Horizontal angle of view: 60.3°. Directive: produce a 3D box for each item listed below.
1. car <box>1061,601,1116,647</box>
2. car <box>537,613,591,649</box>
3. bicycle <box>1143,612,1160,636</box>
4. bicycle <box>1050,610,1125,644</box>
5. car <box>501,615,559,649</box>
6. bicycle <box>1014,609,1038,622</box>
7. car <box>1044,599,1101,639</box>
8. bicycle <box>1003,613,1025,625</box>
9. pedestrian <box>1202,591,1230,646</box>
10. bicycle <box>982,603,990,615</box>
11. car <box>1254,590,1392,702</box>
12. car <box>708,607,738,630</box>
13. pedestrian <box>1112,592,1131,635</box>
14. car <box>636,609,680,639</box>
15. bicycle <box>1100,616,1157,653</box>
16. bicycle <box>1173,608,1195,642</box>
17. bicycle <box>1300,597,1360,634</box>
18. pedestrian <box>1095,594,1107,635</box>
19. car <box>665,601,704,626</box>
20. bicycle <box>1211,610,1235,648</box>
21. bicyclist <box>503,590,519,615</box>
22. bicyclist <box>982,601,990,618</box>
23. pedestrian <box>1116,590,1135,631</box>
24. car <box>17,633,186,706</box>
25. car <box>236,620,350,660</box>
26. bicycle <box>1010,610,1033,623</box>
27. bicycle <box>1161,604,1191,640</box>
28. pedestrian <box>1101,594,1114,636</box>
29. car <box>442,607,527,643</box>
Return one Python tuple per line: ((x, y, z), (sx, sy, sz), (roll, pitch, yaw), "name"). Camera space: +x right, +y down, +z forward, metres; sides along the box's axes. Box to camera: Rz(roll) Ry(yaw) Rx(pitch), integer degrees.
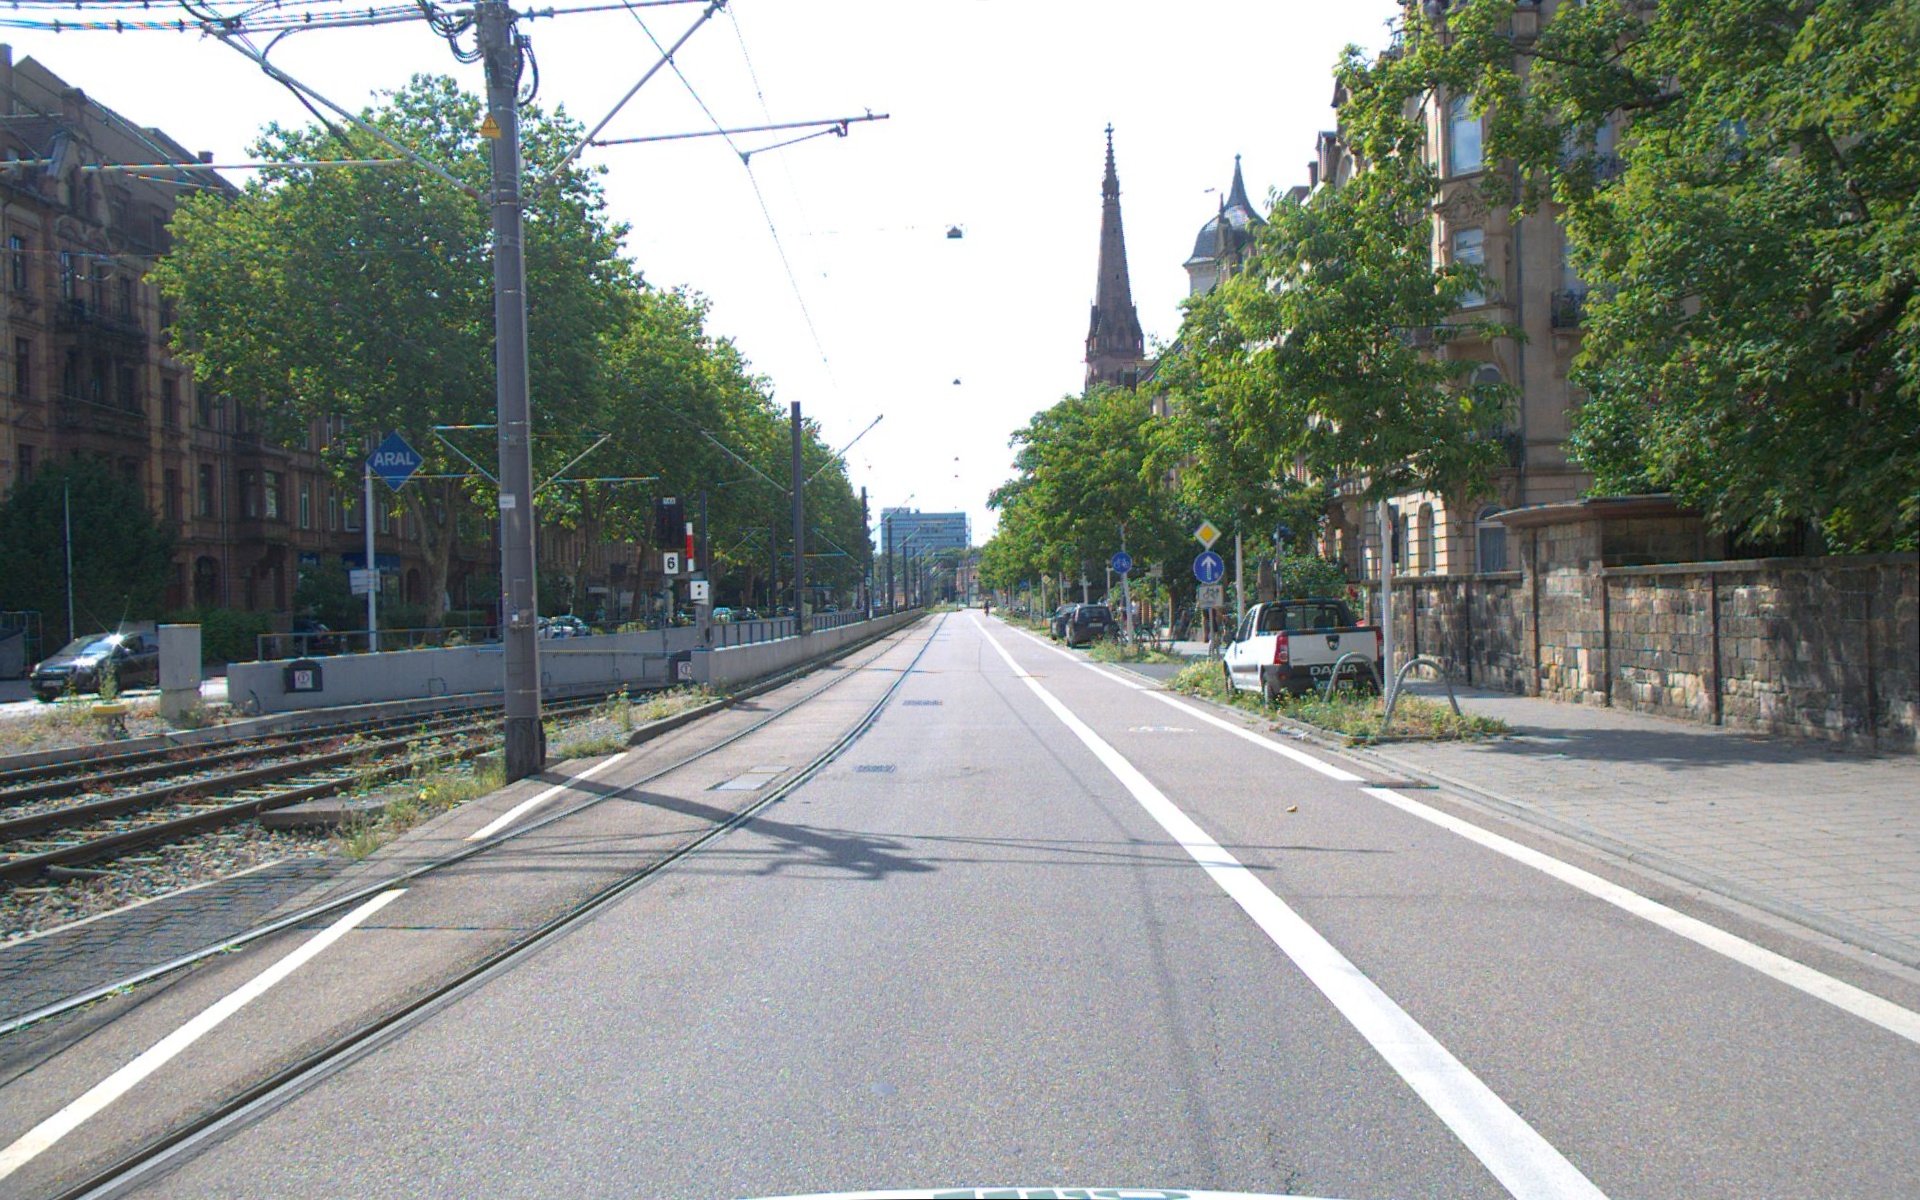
((4.650, 0.832, 60.391), (1.651, 1.528, 4.708), (-2, 0, 0), "car")
((-19.184, 1.482, 80.218), (1.610, 1.508, 4.001), (-4, 0, -1), "car")
((7.962, 0.996, 68.791), (0.419, 0.956, 1.807), (-4, 0, 0), "bicycle")
((5.158, 1.078, 66.891), (2.895, 1.268, 0.790), (-2, 0, -13), "bicycle")
((-19.164, 1.427, 73.771), (1.466, 1.326, 3.492), (-4, 0, 2), "car")
((5.173, 1.200, 129.174), (1.780, 0.918, 0.651), (-4, 0, -4), "bicycle")
((4.746, 0.796, 70.410), (1.763, 1.553, 4.486), (-3, 0, -4), "car")
((4.736, 1.665, 145.373), (1.780, 0.918, 0.603), (-4, 0, -4), "bicycle")
((7.871, 0.579, 50.886), (0.708, 1.657, 0.725), (-1, -1, 0), "pedestrian")
((2.675, 0.917, 169.886), (0.782, 1.258, 2.777), (-1, 0, 1), "bicycle")
((5.211, 0.606, 24.149), (1.633, 1.441, 3.847), (-2, 0, 8), "car")
((-19.864, 1.516, 138.847), (1.801, 1.757, 4.000), (-4, 0, 0), "car")
((7.114, 0.600, 72.817), (0.656, 1.836, 0.319), (-4, 0, -2), "pedestrian")
((-19.347, 1.536, 106.155), (1.682, 1.720, 3.733), (-3, 1, 6), "car")
((5.217, 1.075, 51.306), (1.673, 1.088, 0.470), (-2, 0, -6), "bicycle")
((7.955, 0.867, 58.805), (0.419, 1.159, 2.023), (-4, 0, 0), "bicycle")
((12.391, 0.515, 55.376), (1.853, 1.088, 0.470), (-5, 0, -6), "bicycle")
((6.132, 0.637, 71.870), (0.311, 1.736, 0.461), (-4, 0, 14), "pedestrian")
((-20.072, 0.982, 120.661), (1.952, 1.665, 4.001), (-4, 0, 2), "car")
((8.073, 0.869, 50.824), (0.460, 1.127, 1.711), (-1, 0, 0), "bicycle")
((-27.606, 0.151, 101.735), (0.674, 1.481, 1.044), (-1, 0, 0), "bicyclist")
((2.674, 0.950, 169.920), (0.755, 1.760, 1.026), (-1, 0, 0), "bicyclist")
((7.078, 0.448, 70.899), (0.520, 1.705, 0.571), (-4, 0, -19), "pedestrian")
((-19.605, 1.547, 37.951), (1.633, 1.441, 3.785), (-2, 0, 5), "car")
((-27.833, 1.667, 69.113), (3.904, 1.509, 2.000), (-1, 0, 2), "car")
((5.002, 1.337, 134.108), (1.780, 0.918, 0.603), (-4, 0, -4), "bicycle")
((8.047, 0.792, 61.662), (0.644, 1.270, 2.943), (-4, 0, 0), "bicycle")
((6.495, 0.655, 72.829), (0.450, 1.836, 0.319), (-4, 0, -2), "pedestrian")
((-27.644, 1.431, 96.240), (4.313, 1.952, 1.999), (-1, 0, -2), "car")
